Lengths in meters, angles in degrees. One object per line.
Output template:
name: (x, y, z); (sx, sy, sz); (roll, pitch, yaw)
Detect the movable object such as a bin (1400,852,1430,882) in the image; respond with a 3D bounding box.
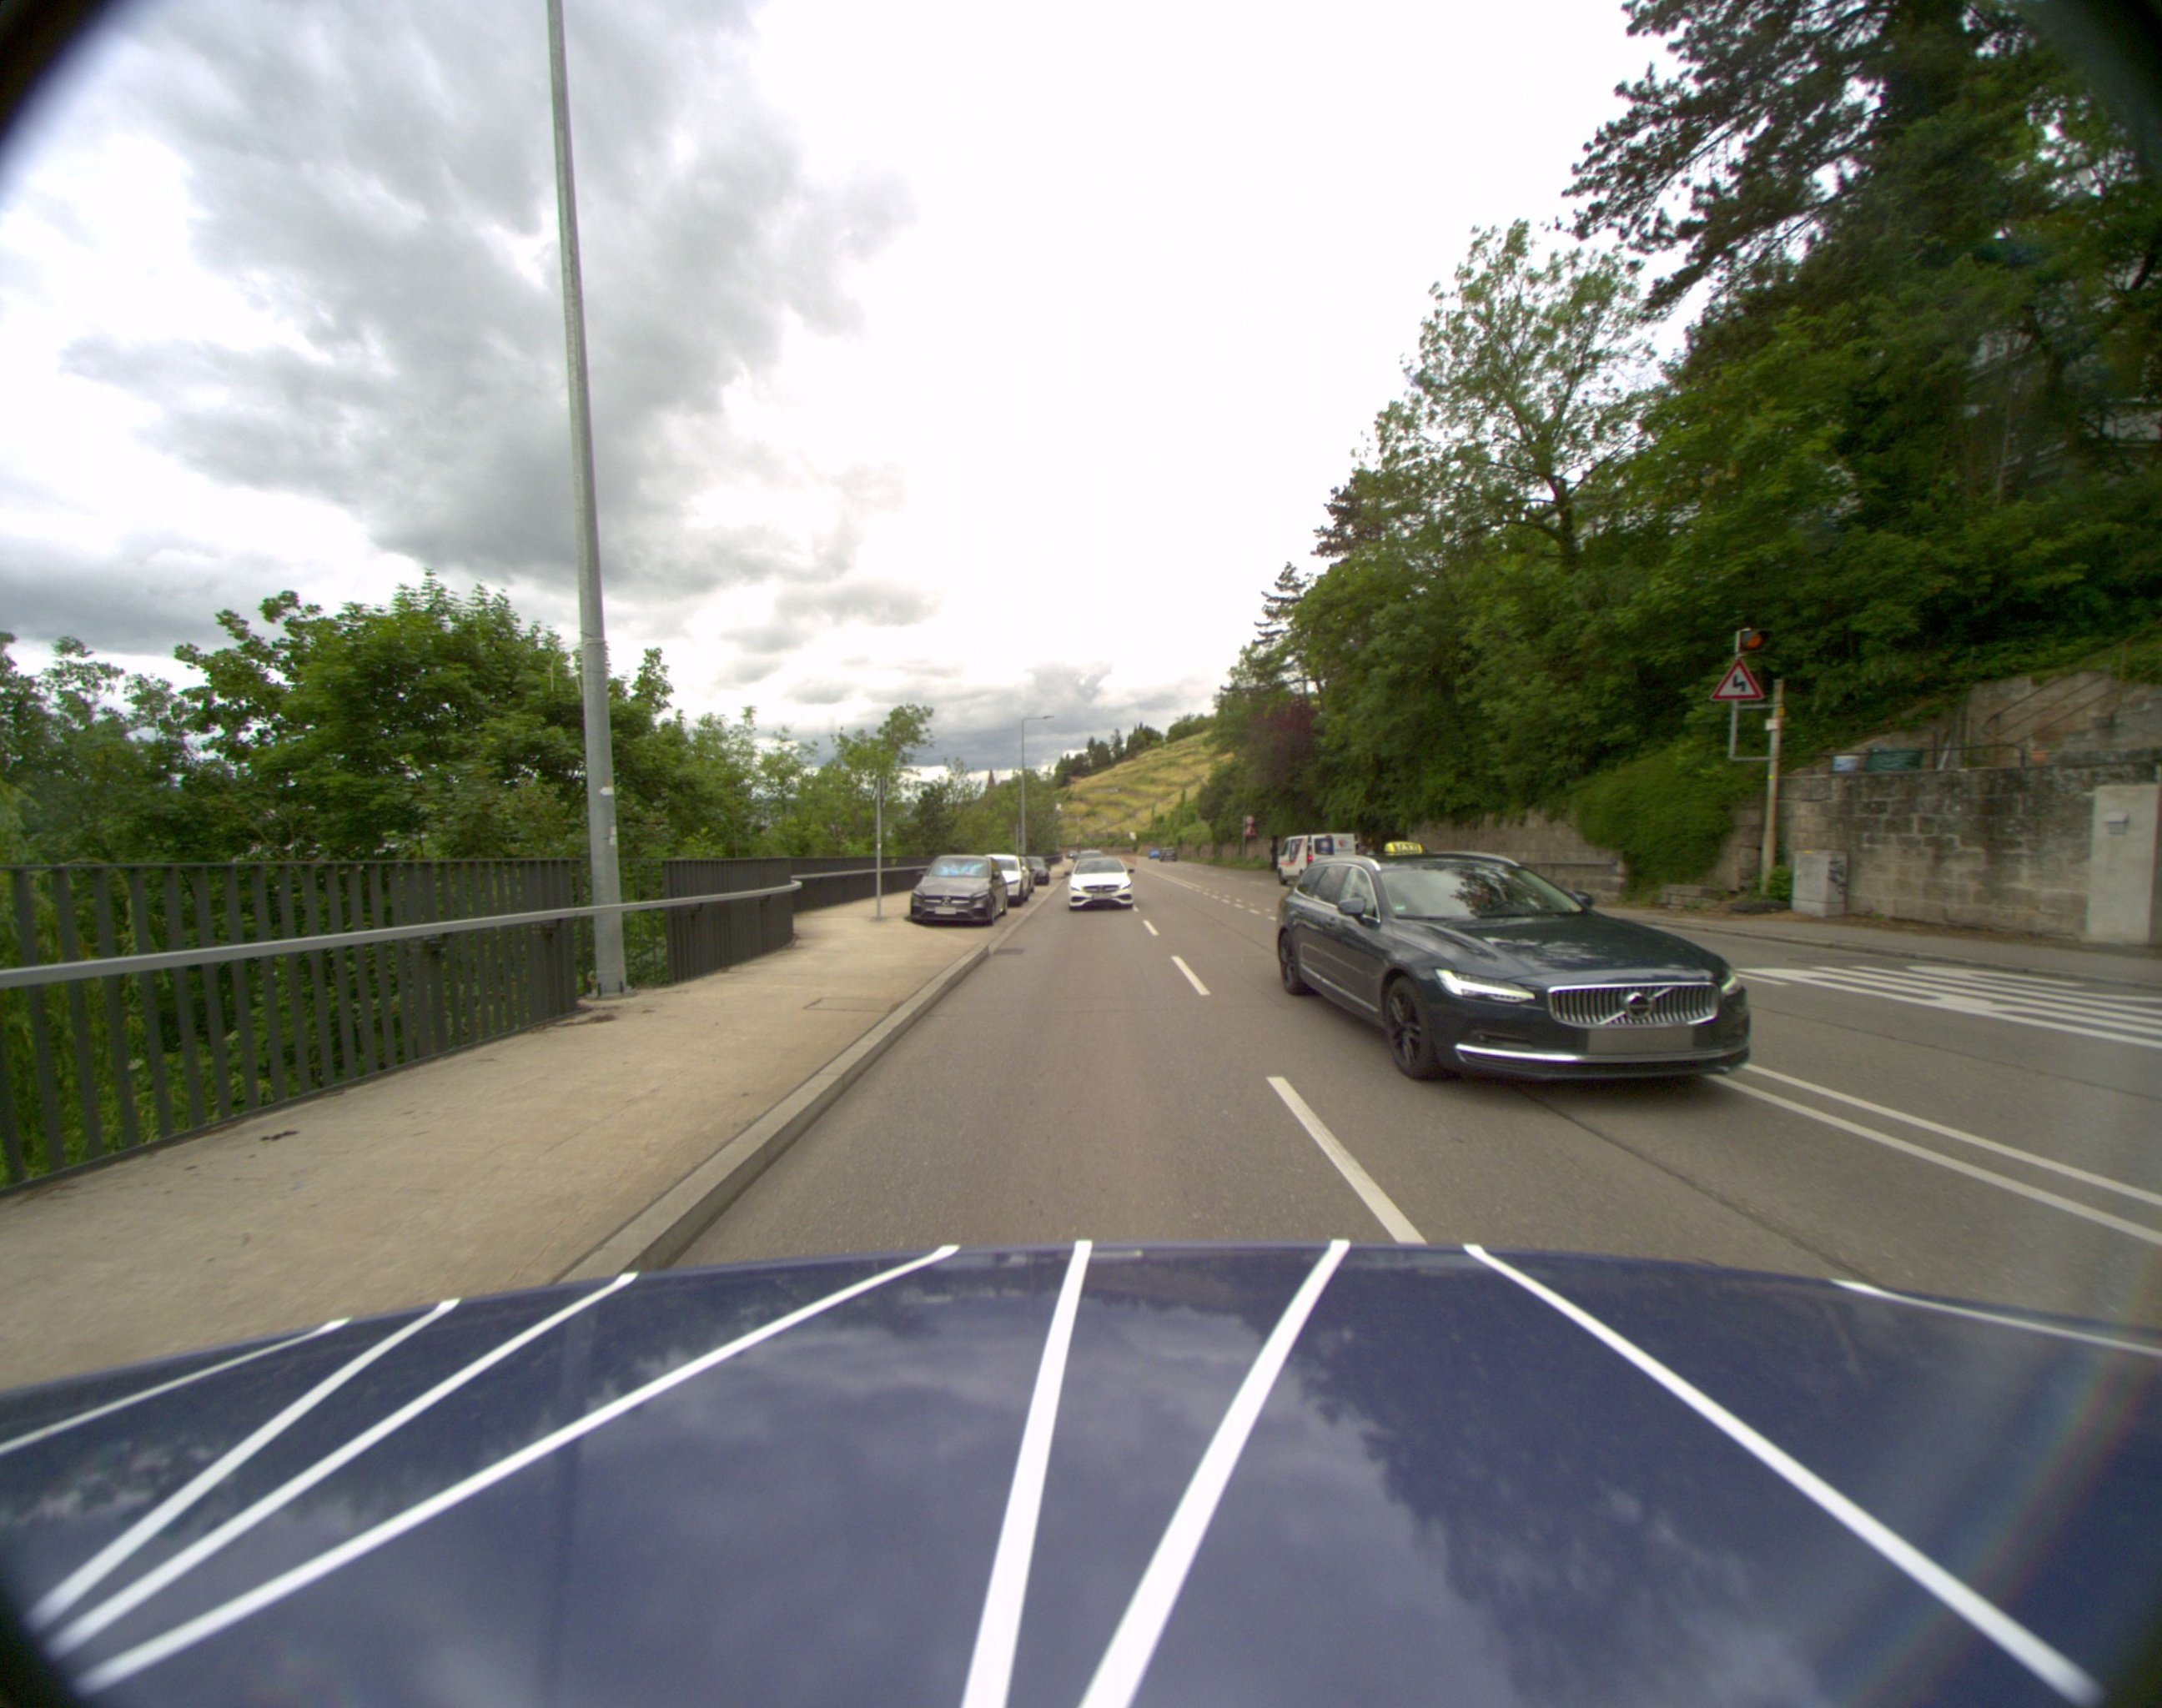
movable object such as a bin: (12.273, 0.484, 27.929); (0.789, 1.064, 0.708); (-1, 0, -2)

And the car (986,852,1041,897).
car: (-2.578, 0.736, 29.726); (1.663, 1.563, 4.255); (2, 1, 1)

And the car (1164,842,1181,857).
car: (10.994, -0.506, 91.262); (1.819, 1.687, 4.471); (-2, 1, 6)

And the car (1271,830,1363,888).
car: (8.884, 0.150, 29.085); (1.926, 1.993, 5.355); (-1, 1, 1)

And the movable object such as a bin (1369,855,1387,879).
movable object such as a bin: (12.264, 0.539, 31.350); (0.518, 0.960, 0.474); (-1, 1, -2)

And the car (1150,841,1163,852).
car: (10.687, -1.052, 108.041); (1.587, 1.453, 3.523); (-3, 1, 2)

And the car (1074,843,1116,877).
car: (0.731, 0.259, 39.702); (1.998, 1.580, 4.000); (-3, 1, 2)

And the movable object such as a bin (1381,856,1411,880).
movable object such as a bin: (12.464, 0.549, 30.052); (0.918, 0.940, 0.594); (-1, 1, -2)

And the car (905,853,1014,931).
car: (-2.720, 0.789, 18.003); (1.761, 1.535, 4.427); (2, 1, 1)

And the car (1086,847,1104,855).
car: (2.578, -0.574, 140.191); (1.864, 1.437, 4.288); (-2, 1, -18)

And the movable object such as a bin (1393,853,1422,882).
movable object such as a bin: (12.312, 0.506, 28.667); (0.774, 1.055, 0.718); (-1, 1, -2)

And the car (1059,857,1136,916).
car: (0.494, 0.853, 21.409); (1.903, 1.418, 4.266); (-3, -1, 2)

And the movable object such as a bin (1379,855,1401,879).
movable object such as a bin: (12.464, 0.528, 30.665); (0.675, 0.960, 0.543); (-1, 1, -2)

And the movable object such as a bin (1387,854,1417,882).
movable object such as a bin: (12.426, 0.537, 29.410); (0.901, 1.028, 0.621); (-1, 1, -2)

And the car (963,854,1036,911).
car: (-2.481, 0.809, 24.142); (1.731, 1.559, 4.623); (0, 1, 1)

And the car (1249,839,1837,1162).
car: (2.906, 0.725, 6.380); (1.939, 1.567, 5.027); (-3, 1, 2)

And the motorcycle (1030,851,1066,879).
motorcycle: (-1.878, 0.615, 43.750); (0.770, 1.459, 2.509); (-1, 1, 30)

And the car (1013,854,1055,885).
car: (-2.337, 0.741, 38.611); (1.828, 1.393, 4.318); (1, 1, 0)
